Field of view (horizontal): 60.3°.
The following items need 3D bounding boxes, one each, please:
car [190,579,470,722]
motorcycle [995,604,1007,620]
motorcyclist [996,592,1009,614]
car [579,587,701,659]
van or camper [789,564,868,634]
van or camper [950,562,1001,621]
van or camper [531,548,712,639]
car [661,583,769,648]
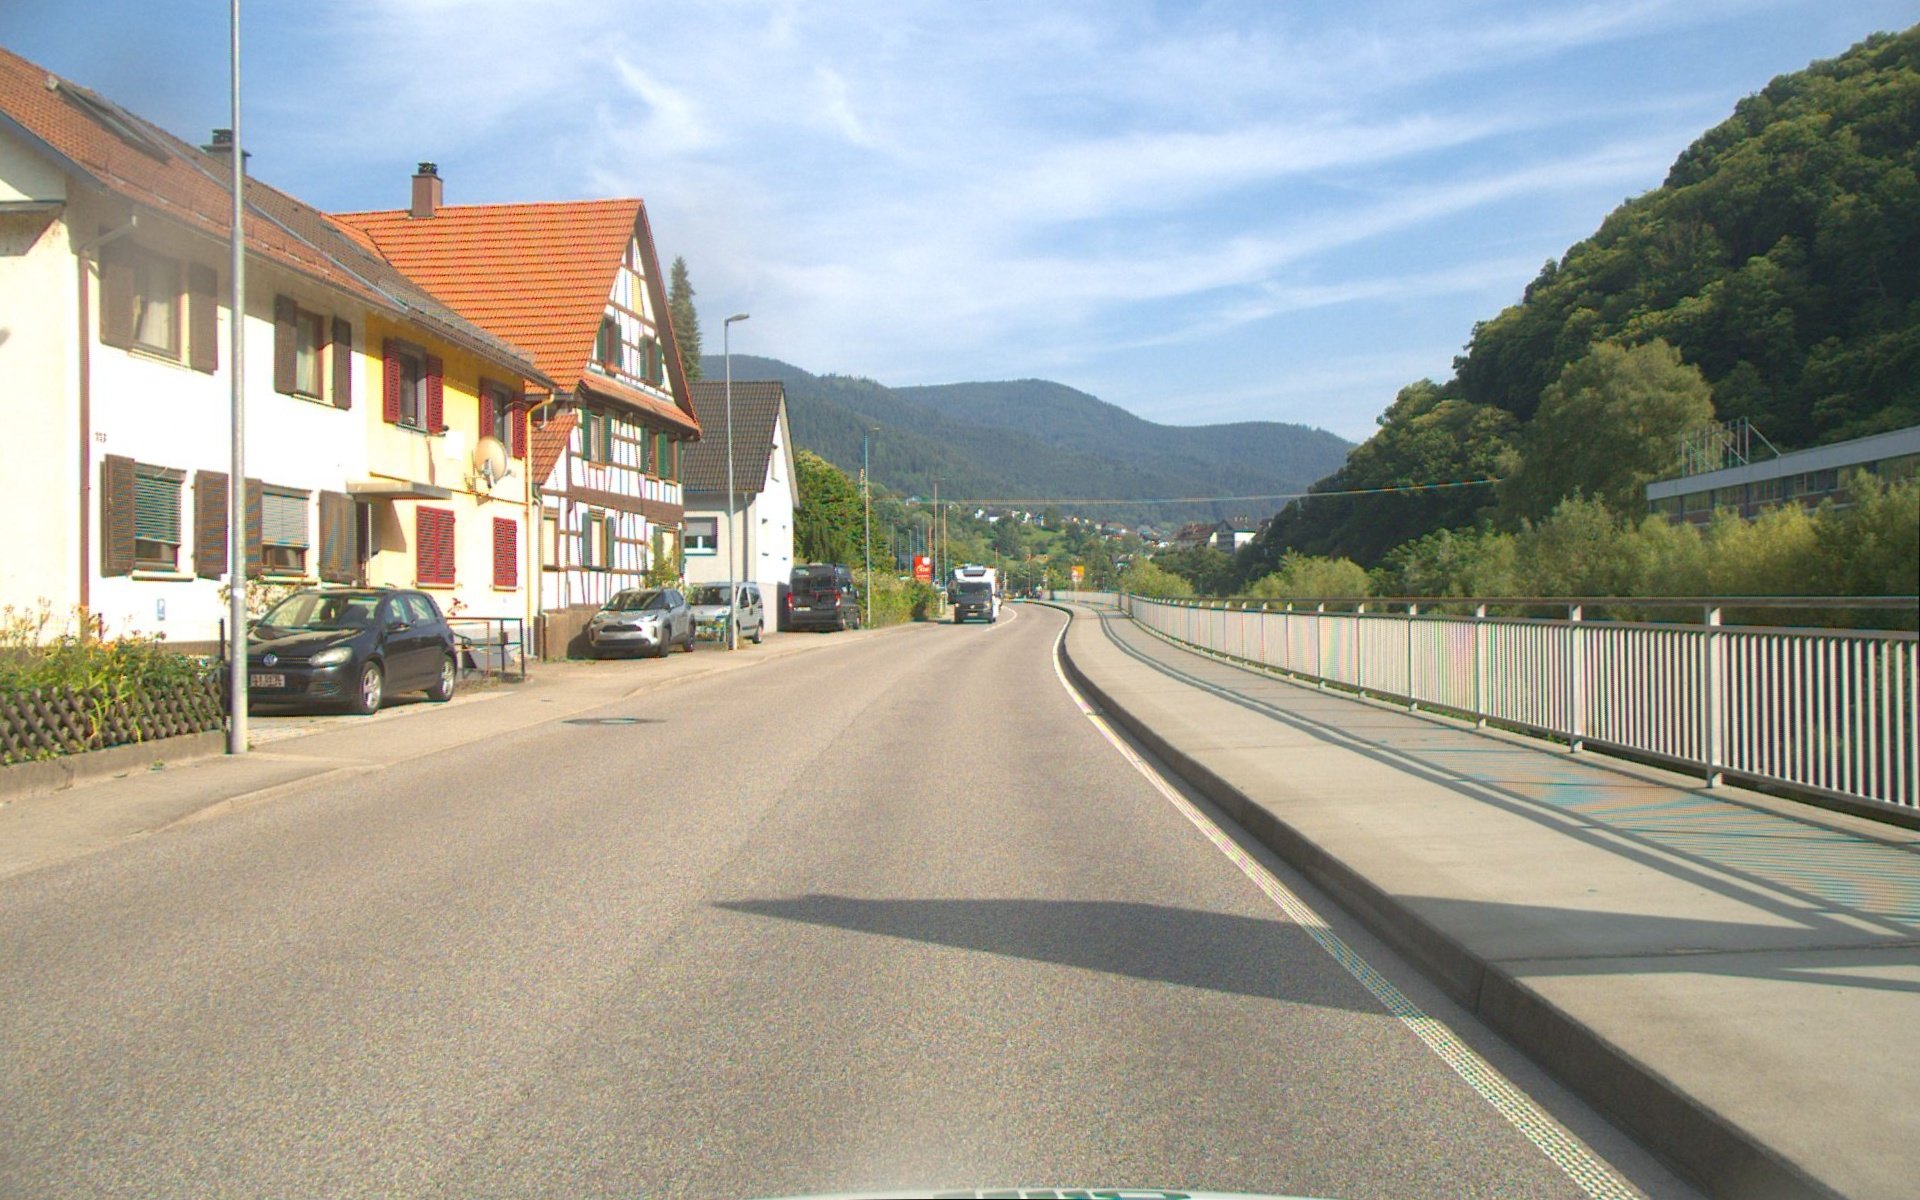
[{"bbox_3d":[-7.553,0.554,20.302,1.846,1.545,4.235,1,0,-1],"label":"car"},{"bbox_3d":[2.917,0.854,118.560,0.640,1.086,2.183,-1,0,6],"label":"motorcycle"},{"bbox_3d":[3.053,0.210,118.464,0.808,1.585,0.628,-1,-1,7],"label":"motorcyclist"},{"bbox_3d":[-7.415,0.502,38.720,1.845,1.545,4.096,-2,0,3],"label":"car"},{"bbox_3d":[-5.084,-0.051,64.643,2.103,2.600,5.905,0,0,5],"label":"van or camper"},{"bbox_3d":[0.865,-0.463,87.724,2.149,2.990,7.131,0,0,5],"label":"van or camper"},{"bbox_3d":[-10.539,-0.205,51.650,5.065,2.710,2.194,1,0,11],"label":"van or camper"},{"bbox_3d":[-6.679,0.417,45.534,1.860,1.693,4.270,0,0,7],"label":"car"}]
